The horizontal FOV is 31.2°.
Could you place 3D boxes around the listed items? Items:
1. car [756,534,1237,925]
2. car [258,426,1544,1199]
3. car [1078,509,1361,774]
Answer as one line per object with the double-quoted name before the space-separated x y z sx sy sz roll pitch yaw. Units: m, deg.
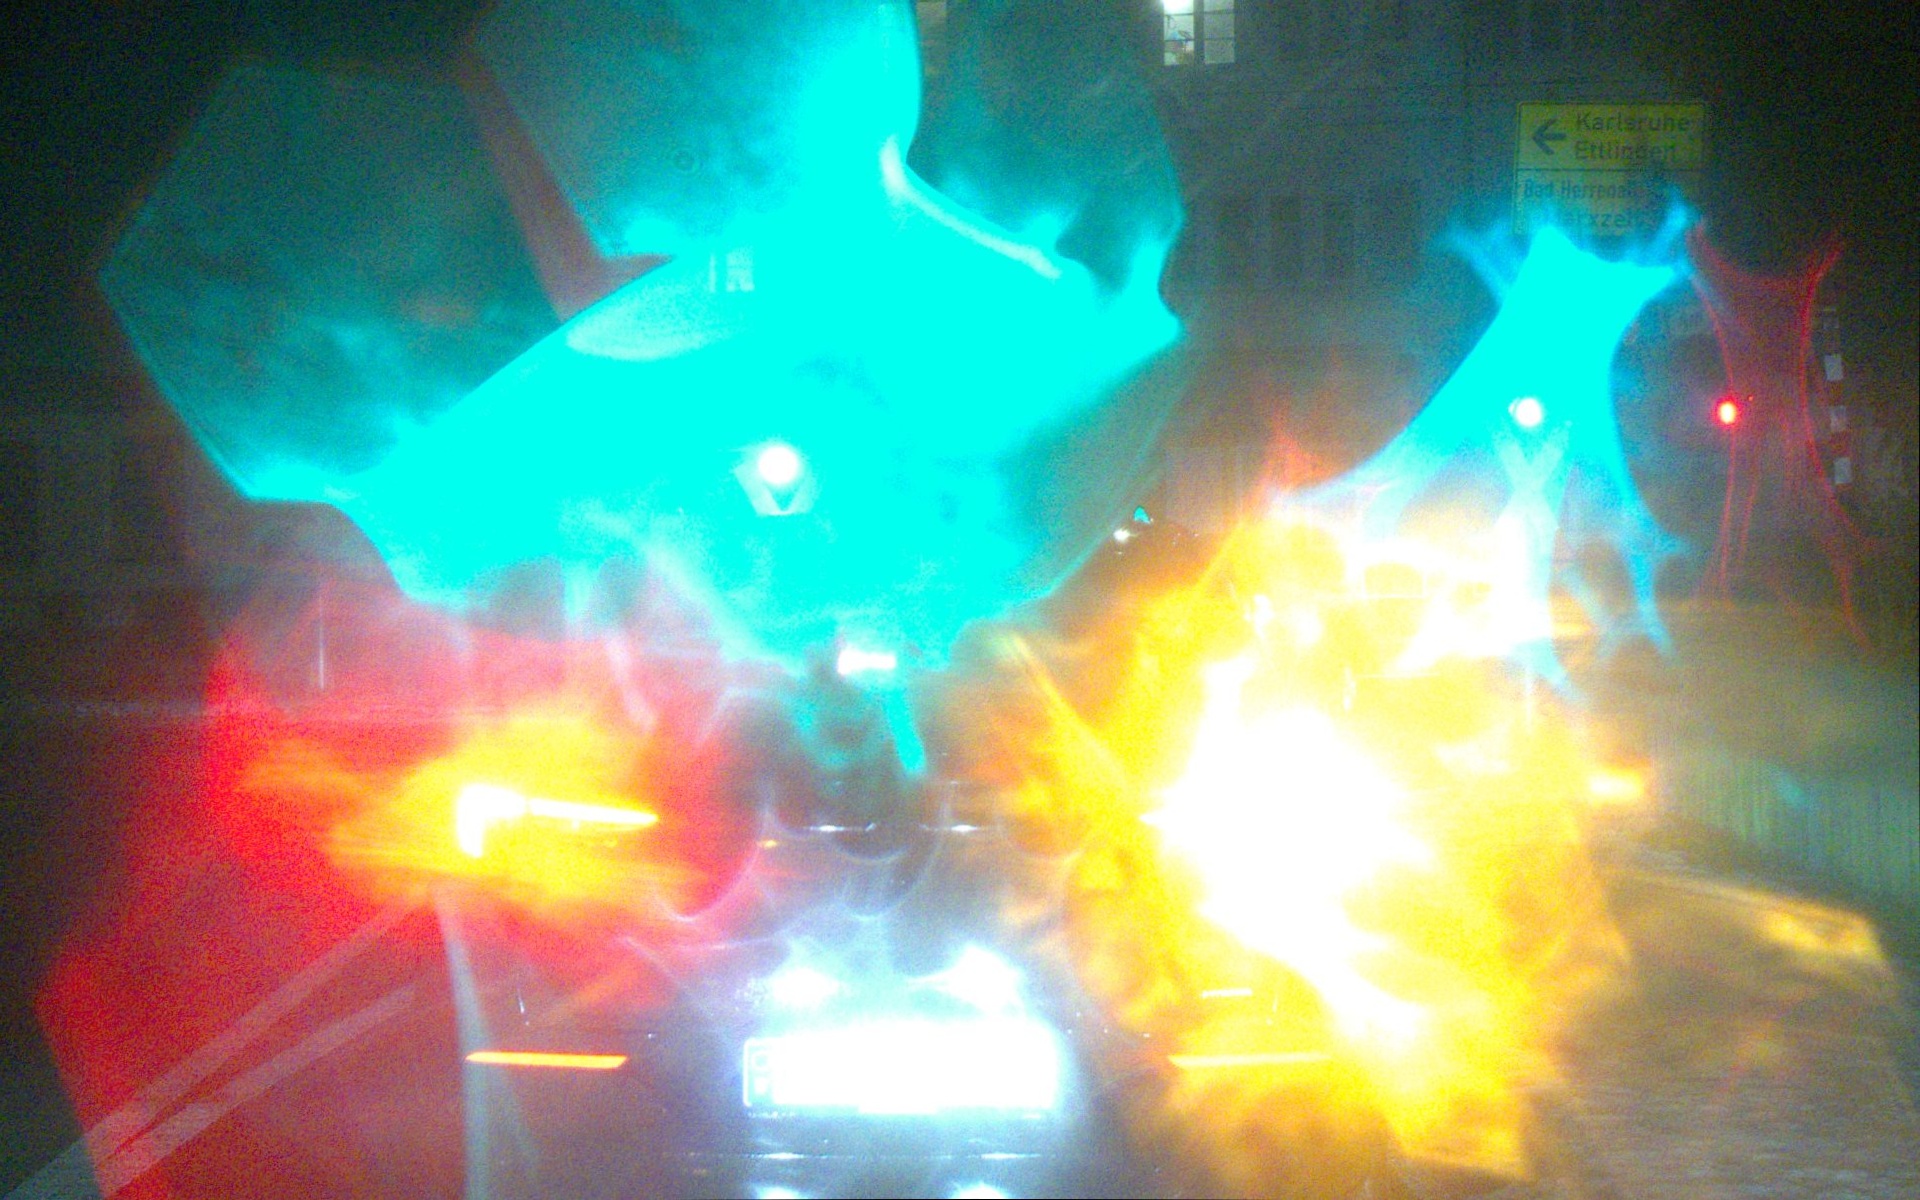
"car" 0.152 0.494 16.275 1.909 1.505 4.241 -3 1 0
"car" -0.122 0.553 7.641 2.057 1.672 4.139 1 1 -1
"car" 2.241 0.358 28.636 1.772 1.941 4.252 4 -1 11
